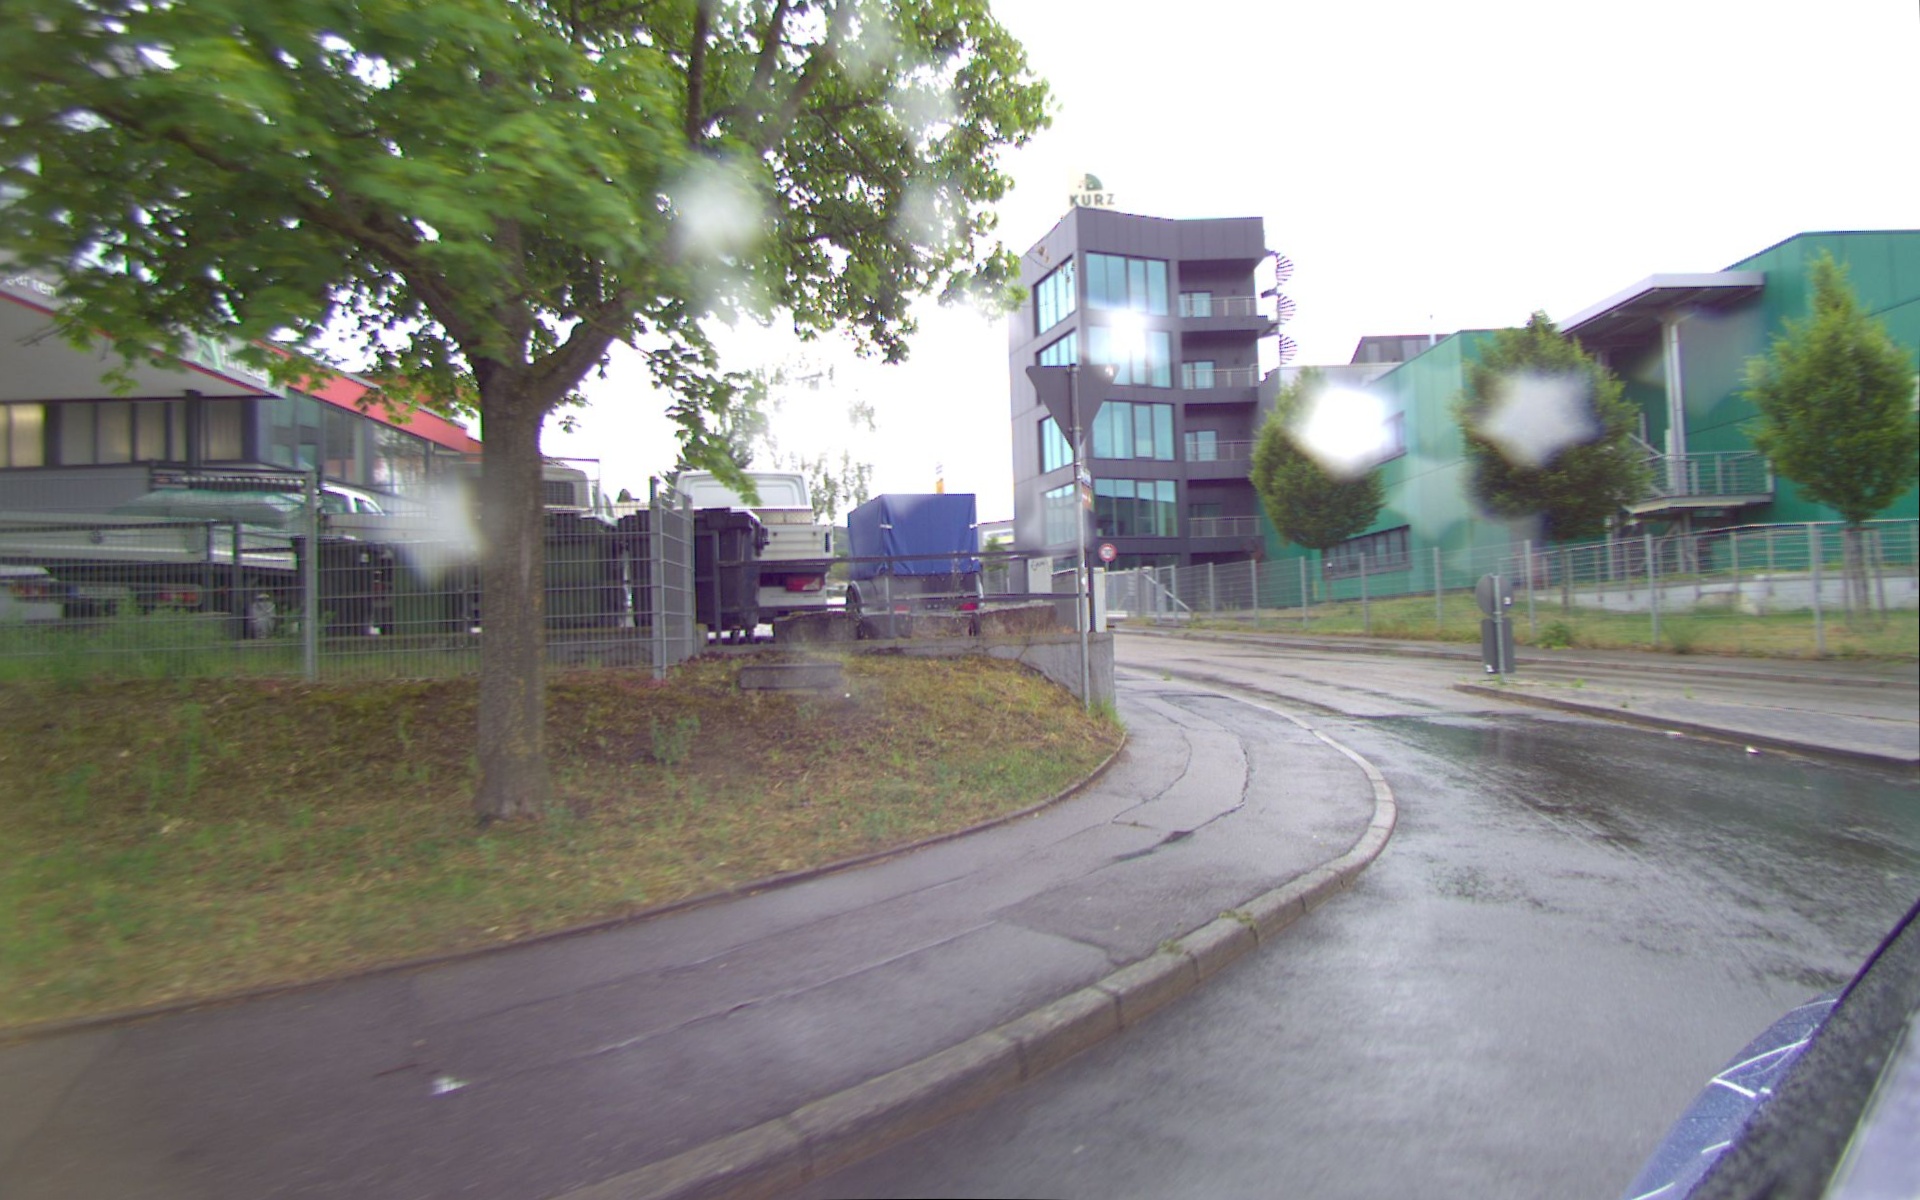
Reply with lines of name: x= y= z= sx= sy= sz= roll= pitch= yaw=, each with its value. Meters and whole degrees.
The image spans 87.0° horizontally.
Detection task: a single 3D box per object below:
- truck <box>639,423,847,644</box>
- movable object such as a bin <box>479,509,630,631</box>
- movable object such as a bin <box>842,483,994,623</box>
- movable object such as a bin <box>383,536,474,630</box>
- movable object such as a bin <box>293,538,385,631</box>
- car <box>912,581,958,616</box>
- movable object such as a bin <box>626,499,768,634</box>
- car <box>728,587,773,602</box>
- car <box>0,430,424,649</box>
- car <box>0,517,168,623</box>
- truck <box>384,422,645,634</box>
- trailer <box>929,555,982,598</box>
truck: x=-2.706 y=-0.731 z=13.243 sx=2.069 sy=2.242 sz=5.662 roll=-1 pitch=1 yaw=-10
movable object such as a bin: x=-3.692 y=-0.270 z=9.304 sx=1.033 sy=1.055 sz=0.884 roll=-1 pitch=0 yaw=-1
movable object such as a bin: x=-0.546 y=-0.530 z=12.022 sx=1.283 sy=1.519 sz=1.862 roll=-1 pitch=1 yaw=-20
movable object such as a bin: x=-4.834 y=-0.157 z=9.231 sx=0.555 sy=0.828 sz=0.540 roll=-1 pitch=0 yaw=-5
movable object such as a bin: x=-5.599 y=-0.141 z=9.145 sx=0.512 sy=0.811 sz=0.540 roll=-1 pitch=0 yaw=-5
car: x=-1.441 y=-0.115 z=56.310 sx=1.708 sy=1.820 sz=3.967 roll=-1 pitch=1 yaw=-14
movable object such as a bin: x=-2.426 y=-0.305 z=9.475 sx=1.119 sy=1.177 sz=1.028 roll=-1 pitch=0 yaw=-5
car: x=-23.134 y=-0.605 z=111.859 sx=4.537 sy=1.516 sz=1.942 roll=-1 pitch=1 yaw=-1
car: x=-8.434 y=-0.613 z=11.969 sx=2.021 sy=2.039 sz=4.945 roll=-1 pitch=1 yaw=-7
car: x=-19.059 y=-0.587 z=20.783 sx=3.920 sy=2.039 sz=2.002 roll=-1 pitch=1 yaw=-5
truck: x=-5.763 y=-0.820 z=13.852 sx=2.203 sy=2.371 sz=4.845 roll=-1 pitch=0 yaw=-11
trailer: x=-0.454 y=-2.257 z=99.006 sx=4.673 sy=4.140 sz=2.357 roll=-1 pitch=1 yaw=37
